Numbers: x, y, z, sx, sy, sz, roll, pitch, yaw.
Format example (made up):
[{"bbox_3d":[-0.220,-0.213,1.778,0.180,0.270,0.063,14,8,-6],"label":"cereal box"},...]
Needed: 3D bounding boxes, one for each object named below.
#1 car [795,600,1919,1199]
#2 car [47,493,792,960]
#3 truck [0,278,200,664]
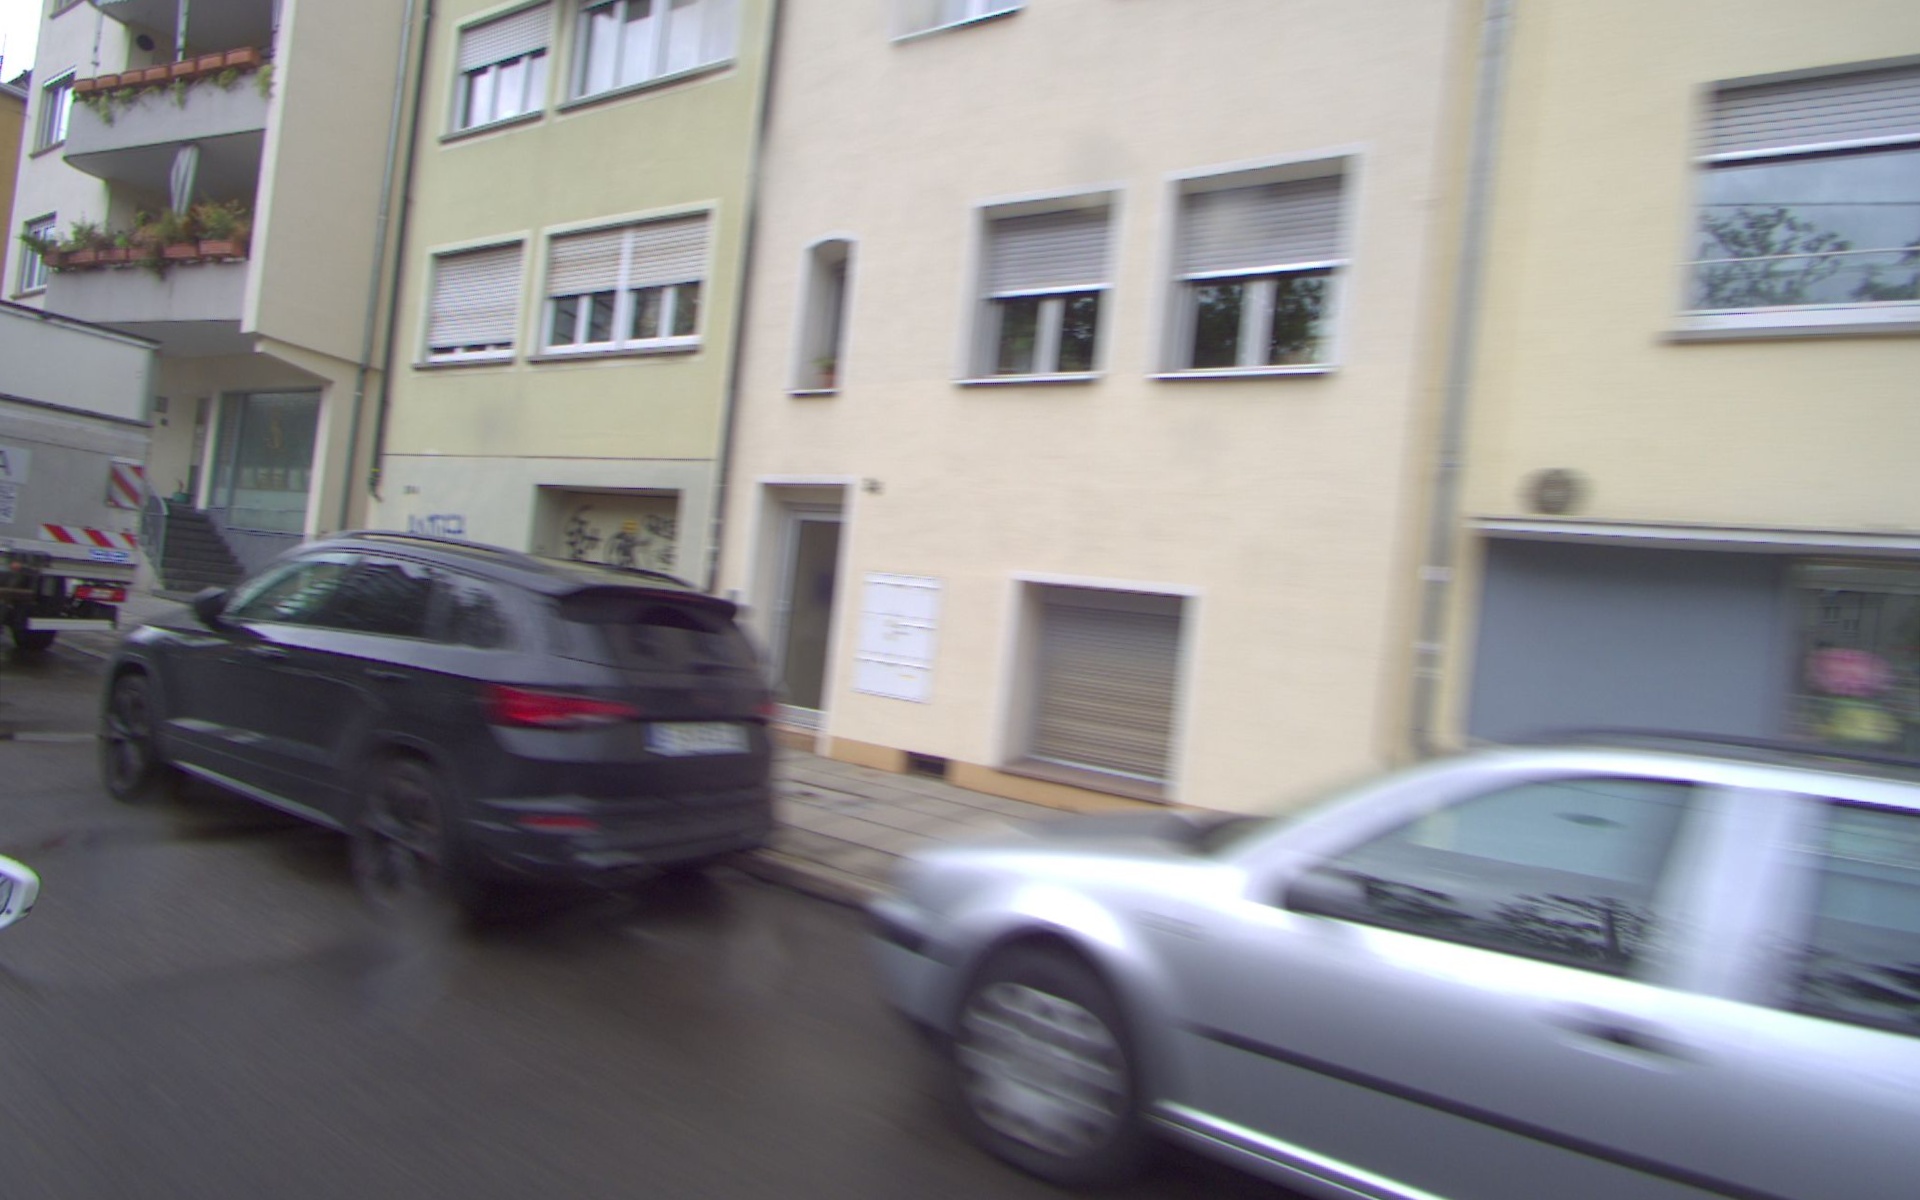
[{"bbox_3d":[1.692,1.025,2.889,4.029,1.517,1.666,7,-1,31],"label":"car"},{"bbox_3d":[-3.092,0.439,5.531,4.029,1.592,1.666,7,-1,31],"label":"car"},{"bbox_3d":[-11.067,-1.398,10.462,6.919,3.209,2.474,6,-1,32],"label":"truck"}]
